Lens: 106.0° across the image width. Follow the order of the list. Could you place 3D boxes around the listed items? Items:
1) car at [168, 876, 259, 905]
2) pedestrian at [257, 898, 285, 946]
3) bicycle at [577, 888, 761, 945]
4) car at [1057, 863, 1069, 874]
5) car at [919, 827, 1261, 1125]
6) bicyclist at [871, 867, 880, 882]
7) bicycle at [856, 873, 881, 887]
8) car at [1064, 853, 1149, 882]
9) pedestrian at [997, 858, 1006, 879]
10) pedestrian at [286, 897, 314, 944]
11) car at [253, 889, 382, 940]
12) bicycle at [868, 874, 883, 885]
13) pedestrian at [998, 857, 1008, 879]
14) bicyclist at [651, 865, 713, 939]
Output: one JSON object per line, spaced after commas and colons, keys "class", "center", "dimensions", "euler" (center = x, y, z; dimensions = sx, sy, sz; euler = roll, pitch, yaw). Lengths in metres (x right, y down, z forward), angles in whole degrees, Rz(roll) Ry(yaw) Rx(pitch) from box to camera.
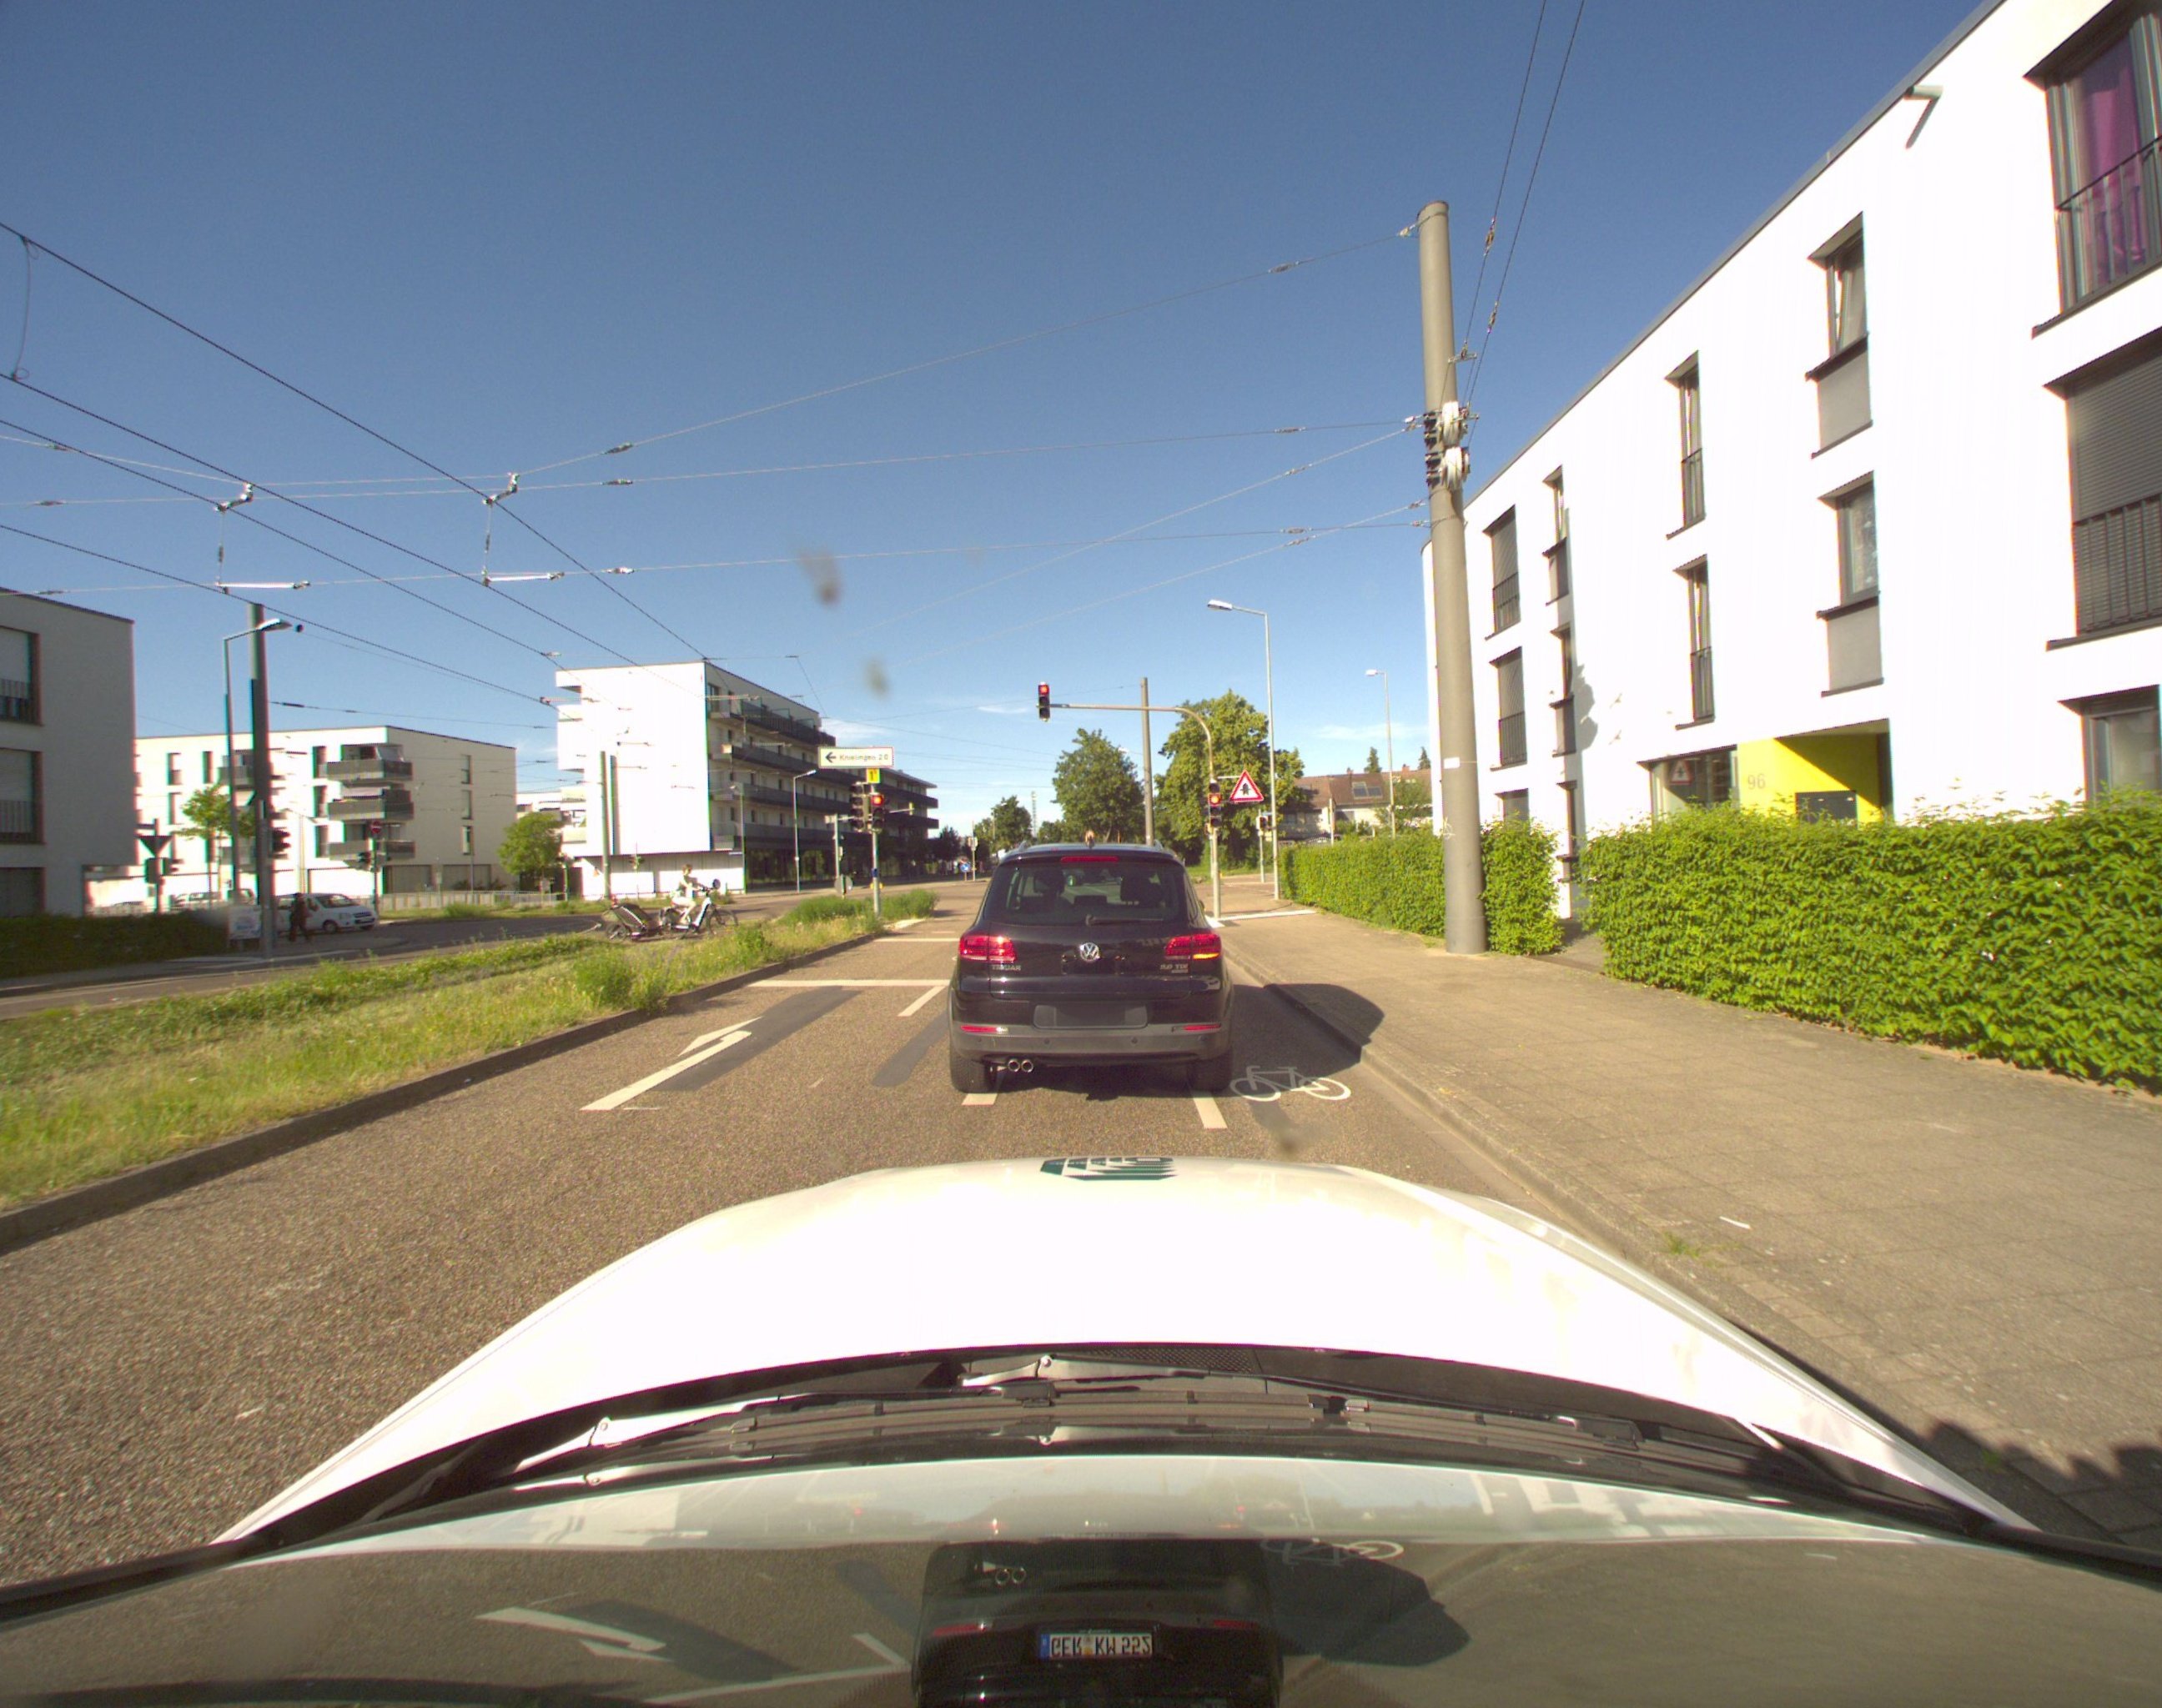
{"class": "car", "center": [-58.715, 2.468, 55.176], "dimensions": [3.974, 1.838, 2.000], "euler": [-1, 0, 0]}
{"class": "pedestrian", "center": [-25.937, 2.156, 26.089], "dimensions": [0.562, 1.464, 0.734], "euler": [-1, 0, -40]}
{"class": "bicycle", "center": [-9.362, 1.413, 18.631], "dimensions": [3.670, 1.174, 0.999], "euler": [1, 0, 0]}
{"class": "car", "center": [-2.860, 2.291, 129.614], "dimensions": [1.648, 1.640, 4.004], "euler": [-1, 0, 4]}
{"class": "car", "center": [0.074, 0.688, 6.588], "dimensions": [1.899, 1.643, 4.000], "euler": [-1, 0, 0]}
{"class": "bicyclist", "center": [-17.457, 1.751, 69.188], "dimensions": [0.472, 1.223, 0.713], "euler": [-1, 0, 5]}
{"class": "bicycle", "center": [-16.719, 2.035, 64.094], "dimensions": [0.958, 1.085, 1.845], "euler": [-1, 0, 25]}
{"class": "car", "center": [1.446, 0.740, 44.840], "dimensions": [4.474, 1.504, 2.003], "euler": [-1, 0, 6]}
{"class": "pedestrian", "center": [-5.821, 1.050, 59.623], "dimensions": [0.600, 1.565, 0.530], "euler": [-1, 0, 6]}
{"class": "pedestrian", "center": [-25.436, 2.143, 26.517], "dimensions": [0.561, 1.464, 0.605], "euler": [-1, 0, -36]}
{"class": "car", "center": [-30.027, 2.371, 32.087], "dimensions": [3.478, 1.652, 1.593], "euler": [-4, 0, 1]}
{"class": "bicycle", "center": [-17.442, 2.145, 69.193], "dimensions": [0.493, 0.848, 2.082], "euler": [-1, 0, 6]}
{"class": "pedestrian", "center": [-5.769, 1.047, 60.191], "dimensions": [0.600, 1.640, 0.530], "euler": [-1, 0, 6]}
{"class": "bicyclist", "center": [-9.124, 1.083, 18.642], "dimensions": [0.907, 1.630, 0.976], "euler": [-1, 0, 0]}
